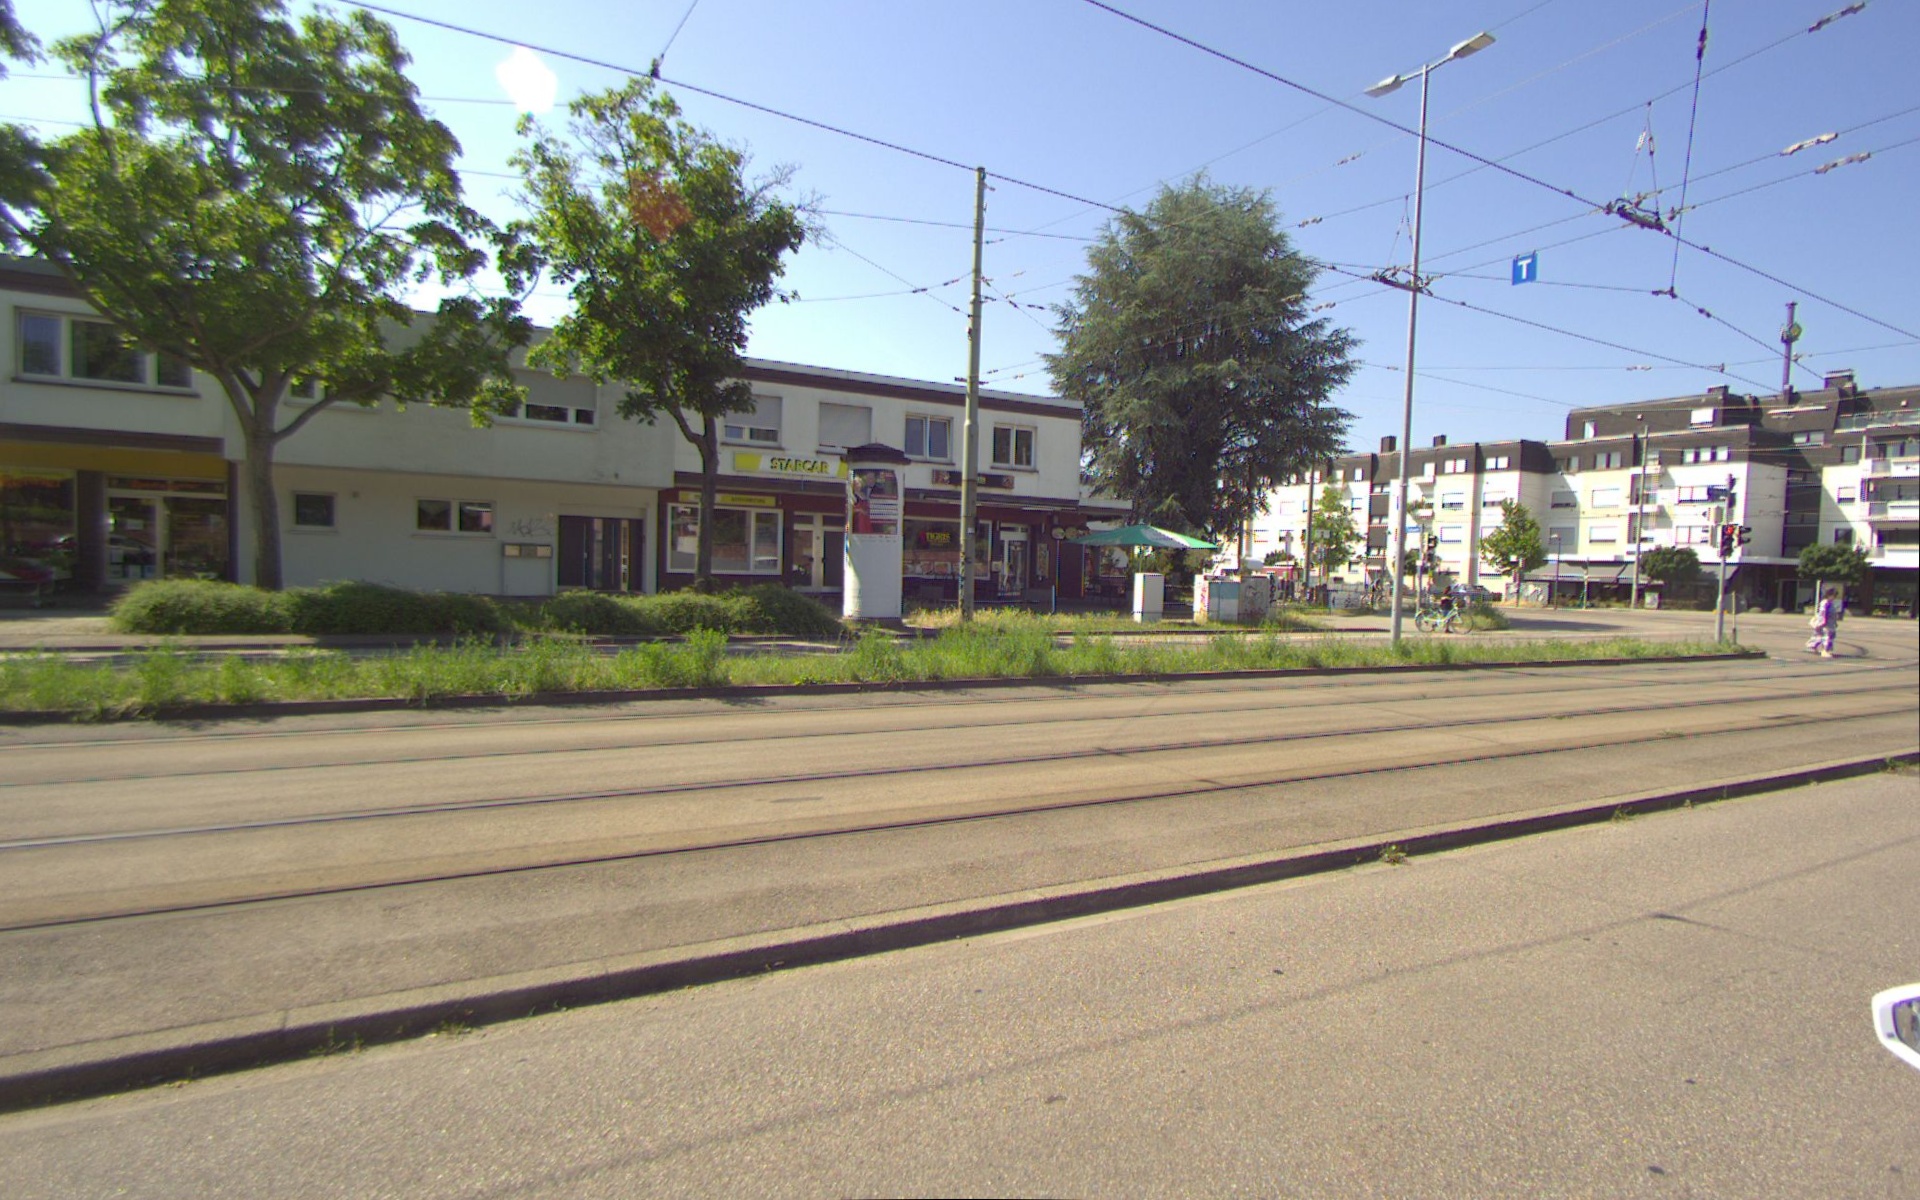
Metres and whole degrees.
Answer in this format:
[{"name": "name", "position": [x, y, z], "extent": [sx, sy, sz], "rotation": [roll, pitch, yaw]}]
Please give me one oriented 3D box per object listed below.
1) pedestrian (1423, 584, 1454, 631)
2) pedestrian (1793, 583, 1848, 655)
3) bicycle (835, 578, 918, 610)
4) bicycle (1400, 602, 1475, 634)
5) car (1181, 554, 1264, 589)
[{"name": "pedestrian", "position": [15.863, 0.238, 33.312], "extent": [0.802, 1.507, 0.564], "rotation": [3, 2, 33]}, {"name": "pedestrian", "position": [21.788, 0.474, 25.444], "extent": [0.923, 1.762, 0.820], "rotation": [0, 2, -38]}, {"name": "bicycle", "position": [-2.468, -0.168, 29.906], "extent": [2.362, 0.900, 0.779], "rotation": [1, 2, -30]}, {"name": "bicycle", "position": [15.632, 0.577, 32.888], "extent": [2.140, 0.934, 0.552], "rotation": [3, 2, 33]}, {"name": "car", "position": [18.081, -1.989, 69.446], "extent": [2.224, 2.041, 5.524], "rotation": [1, 4, -31]}]
